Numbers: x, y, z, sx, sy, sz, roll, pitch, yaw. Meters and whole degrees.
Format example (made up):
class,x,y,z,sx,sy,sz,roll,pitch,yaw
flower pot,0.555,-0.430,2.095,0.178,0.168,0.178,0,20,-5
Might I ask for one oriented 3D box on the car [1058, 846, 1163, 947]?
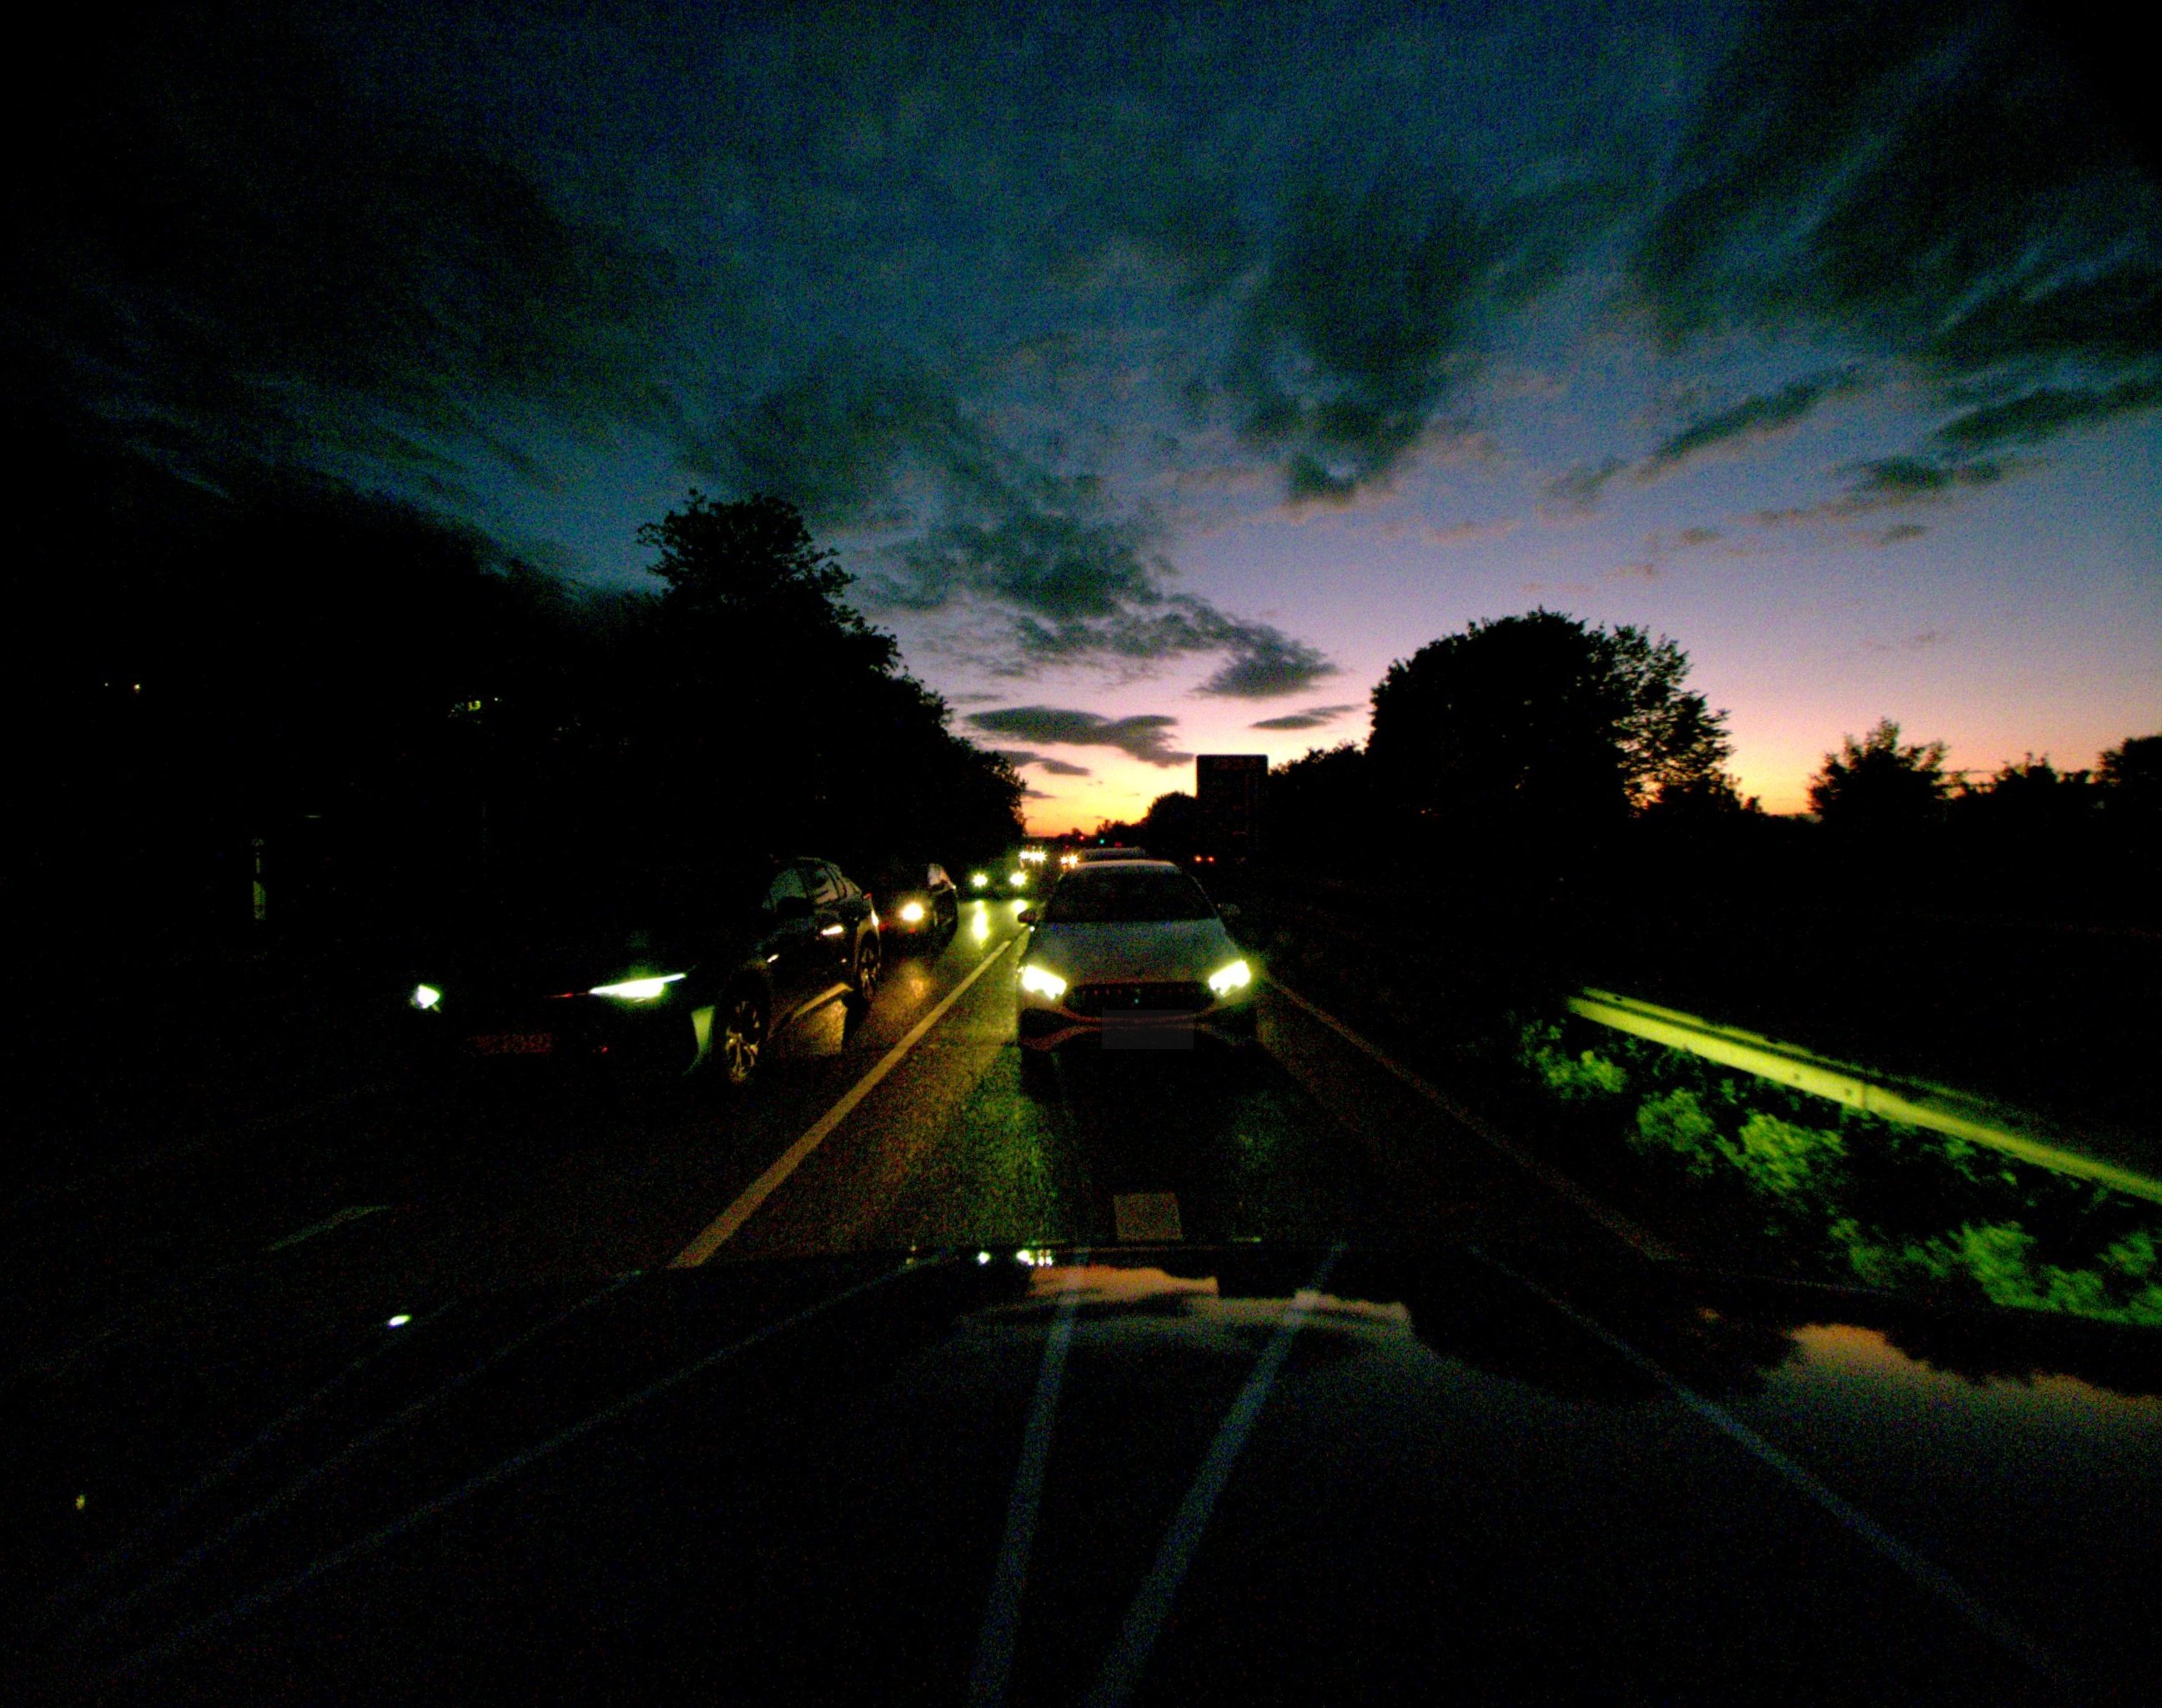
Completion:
class,x,y,z,sx,sy,sz,roll,pitch,yaw
car,0.576,0.751,15.264,1.760,1.692,4.250,-2,0,2

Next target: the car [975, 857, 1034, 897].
class,x,y,z,sx,sy,sz,roll,pitch,yaw
car,-2.941,0.852,30.052,1.819,1.360,3.999,-2,1,1

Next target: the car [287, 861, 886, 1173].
class,x,y,z,sx,sy,sz,roll,pitch,yaw
car,-3.188,0.894,6.191,1.901,1.547,4.301,-3,0,2

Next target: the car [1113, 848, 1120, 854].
class,x,y,z,sx,sy,sz,roll,pitch,yaw
car,9.866,-0.971,214.290,1.781,1.551,3.999,-2,1,1

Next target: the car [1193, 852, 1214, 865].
class,x,y,z,sx,sy,sz,roll,pitch,yaw
car,14.073,0.465,87.412,1.633,1.496,4.590,0,0,-1

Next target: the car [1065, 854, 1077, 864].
class,x,y,z,sx,sy,sz,roll,pitch,yaw
car,-1.309,0.615,102.603,1.606,1.291,3.552,0,0,-1

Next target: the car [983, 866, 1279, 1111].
class,x,y,z,sx,sy,sz,roll,pitch,yaw
car,0.386,0.899,7.157,1.819,1.428,4.646,-3,0,2

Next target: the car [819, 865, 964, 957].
class,x,y,z,sx,sy,sz,roll,pitch,yaw
car,-3.332,0.941,14.085,1.621,1.405,3.755,-1,0,2

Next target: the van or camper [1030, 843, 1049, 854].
class,x,y,z,sx,sy,sz,roll,pitch,yaw
van or camper,-11.987,-1.670,216.757,3.953,3.107,9.930,0,0,-12
